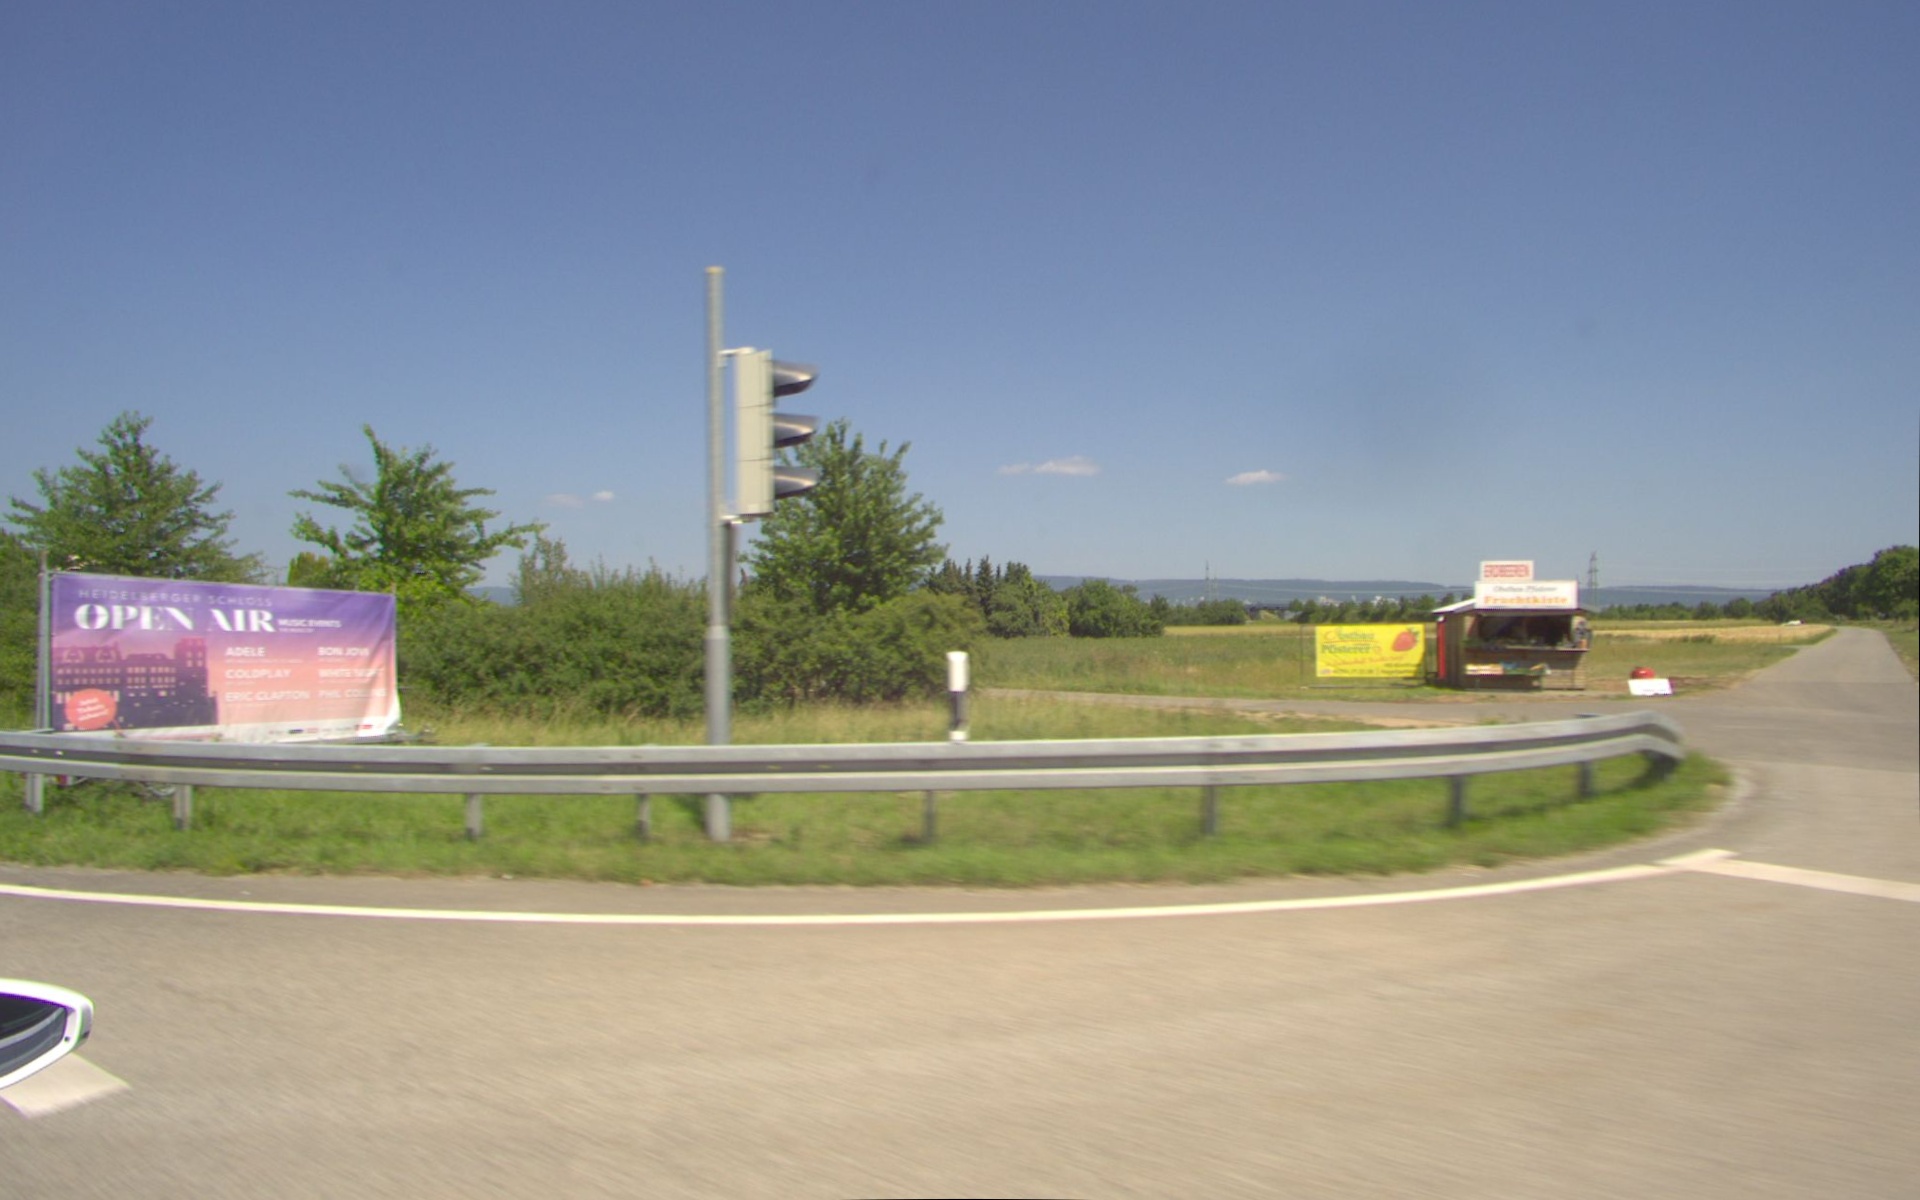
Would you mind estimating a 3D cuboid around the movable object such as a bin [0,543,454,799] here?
[{"bbox_3d":[-8.049,0.772,11.361,1.258,2.360,4.093,-1,-3,29],"label":"movable object such as a bin"}]
